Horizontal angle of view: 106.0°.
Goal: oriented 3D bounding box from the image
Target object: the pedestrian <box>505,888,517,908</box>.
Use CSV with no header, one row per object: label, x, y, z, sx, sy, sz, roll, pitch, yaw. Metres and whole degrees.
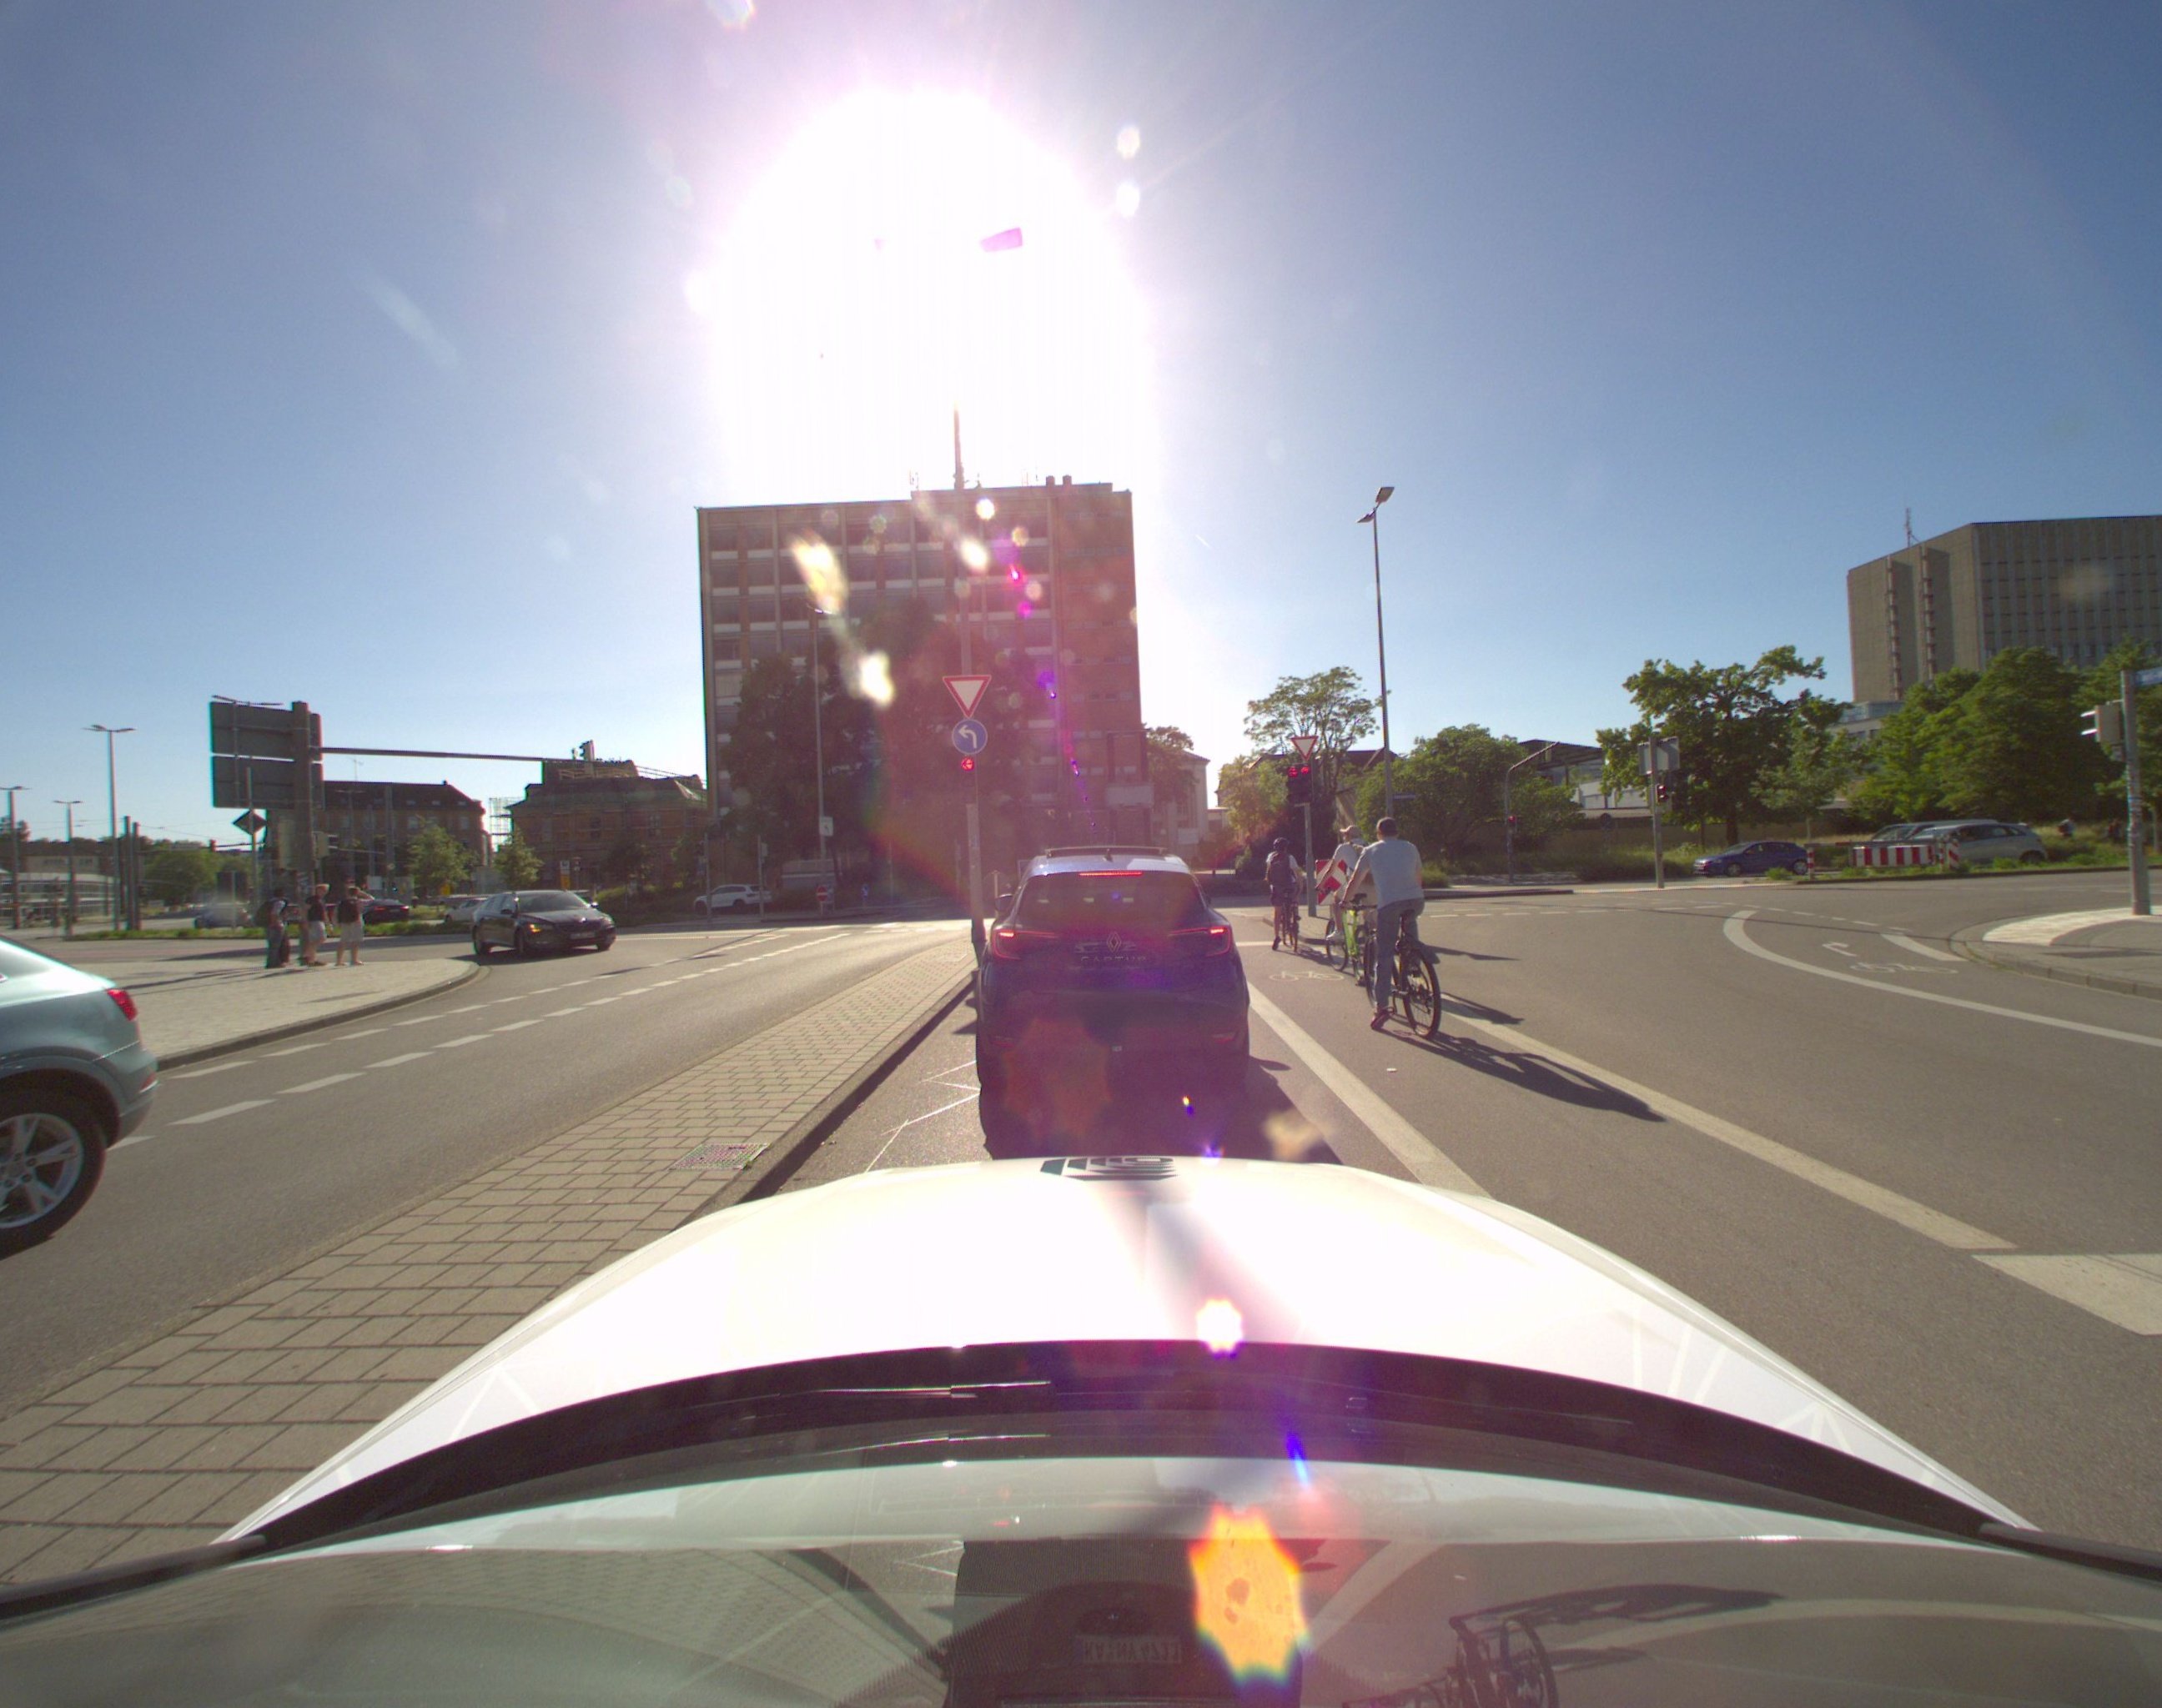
pedestrian,-45.273,3.496,64.702,0.541,1.615,0.653,-3,-1,41

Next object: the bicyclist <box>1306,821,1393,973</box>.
bicyclist,3.222,0.491,9.865,0.644,1.739,1.065,0,-1,-4

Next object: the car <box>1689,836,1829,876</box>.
car,28.226,0.096,34.021,4.140,1.435,1.747,-2,-1,8

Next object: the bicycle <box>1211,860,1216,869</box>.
bicycle,15.269,1.220,93.895,0.403,0.973,1.686,0,-1,6

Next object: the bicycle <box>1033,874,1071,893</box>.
bicycle,-1.657,1.686,46.252,2.061,0.964,0.601,-3,-1,15

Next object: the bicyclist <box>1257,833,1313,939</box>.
bicyclist,3.245,0.497,13.002,0.722,1.629,0.970,0,-1,6

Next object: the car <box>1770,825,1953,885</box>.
car,29.278,0.040,30.693,4.754,2.161,2.003,0,-1,5

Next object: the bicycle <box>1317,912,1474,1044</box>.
bicycle,2.727,1.032,7.311,0.737,0.896,1.980,0,-1,3

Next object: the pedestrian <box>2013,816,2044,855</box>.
pedestrian,45.265,-0.873,38.909,0.559,1.848,0.714,-2,-1,5

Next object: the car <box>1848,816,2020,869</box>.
car,35.260,-0.445,33.774,4.856,2.107,2.002,0,-1,4

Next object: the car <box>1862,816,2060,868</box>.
car,28.148,-0.363,26.180,4.025,1.408,1.872,-2,-1,8

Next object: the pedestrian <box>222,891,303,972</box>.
pedestrian,-18.160,1.701,18.087,0.900,1.690,0.839,-4,-3,-3

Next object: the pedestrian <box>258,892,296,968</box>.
pedestrian,-19.210,1.792,19.456,0.600,1.729,0.572,-2,-1,-45

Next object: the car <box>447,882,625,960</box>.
car,-12.877,1.584,19.153,4.722,1.505,1.831,-5,0,35

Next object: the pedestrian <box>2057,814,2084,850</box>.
pedestrian,48.871,-1.083,40.226,0.559,1.778,0.528,-2,-1,5

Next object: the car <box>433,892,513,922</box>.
car,-33.171,2.896,44.449,3.802,1.435,1.752,-2,-1,23

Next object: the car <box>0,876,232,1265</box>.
car,-5.259,0.948,2.135,1.785,1.581,4.248,-4,0,-6

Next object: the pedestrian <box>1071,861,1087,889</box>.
pedestrian,-0.089,1.217,47.140,0.732,1.603,0.601,-3,-1,14

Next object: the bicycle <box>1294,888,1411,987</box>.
bicycle,3.221,0.952,9.867,0.657,1.003,1.967,0,-1,-4

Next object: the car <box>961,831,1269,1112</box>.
car,0.210,0.705,6.818,1.798,1.632,3.999,-1,0,0

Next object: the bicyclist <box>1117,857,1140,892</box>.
bicyclist,2.555,1.097,43.996,1.094,1.867,0.655,-3,-1,12

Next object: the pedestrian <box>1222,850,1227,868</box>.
pedestrian,16.225,0.594,92.197,0.473,2.014,0.469,-2,-1,8

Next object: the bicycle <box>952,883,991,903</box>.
bicycle,-5.918,2.107,44.042,2.016,0.964,0.593,-2,-1,-25

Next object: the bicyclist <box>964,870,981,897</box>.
bicyclist,-5.881,1.591,44.069,0.741,1.441,0.593,-2,-1,-25

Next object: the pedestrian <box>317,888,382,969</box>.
pedestrian,-16.329,1.652,18.208,0.795,1.690,0.783,-3,-3,-21

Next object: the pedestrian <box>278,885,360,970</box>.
pedestrian,-17.226,1.639,18.441,0.698,1.800,1.107,-5,-3,14

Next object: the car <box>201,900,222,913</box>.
car,-146.792,8.788,137.475,3.948,2.013,2.013,-3,-1,38

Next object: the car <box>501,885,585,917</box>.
car,-30.538,2.664,46.217,4.334,1.632,1.854,-3,-1,23

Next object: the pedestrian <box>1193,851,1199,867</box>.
pedestrian,13.601,0.596,96.076,0.621,1.856,0.564,-2,-1,3

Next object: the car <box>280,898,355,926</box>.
car,-48.449,3.678,51.667,4.334,1.632,1.854,-3,-1,23

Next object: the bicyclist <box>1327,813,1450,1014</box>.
bicyclist,2.720,0.501,7.310,0.748,1.668,1.017,0,-1,3

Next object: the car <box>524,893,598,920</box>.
car,-31.592,3.206,49.504,3.804,1.435,1.751,-3,-1,19

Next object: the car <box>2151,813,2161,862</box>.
car,37.101,-0.632,25.357,4.713,1.584,2.002,-2,-1,3

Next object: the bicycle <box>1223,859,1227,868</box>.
bicycle,16.665,1.069,94.187,0.403,0.973,1.686,0,-1,6

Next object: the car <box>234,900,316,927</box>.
car,-47.518,3.520,48.007,4.839,1.388,1.855,-3,-1,25

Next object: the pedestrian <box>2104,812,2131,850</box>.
pedestrian,49.609,-1.105,38.981,0.559,1.778,0.528,-2,-1,5

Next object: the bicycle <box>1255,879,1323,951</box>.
bicycle,3.255,0.924,12.949,0.735,0.995,2.177,0,-1,6

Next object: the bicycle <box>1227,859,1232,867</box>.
bicycle,17.199,1.065,94.188,0.403,0.973,1.686,0,-1,6

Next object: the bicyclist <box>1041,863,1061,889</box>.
bicyclist,-1.678,1.243,46.257,0.929,1.429,0.601,-3,-1,15

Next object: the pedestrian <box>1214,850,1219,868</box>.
pedestrian,15.113,0.591,90.872,0.473,2.014,0.524,-2,-1,8

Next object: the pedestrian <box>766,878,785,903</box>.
pedestrian,-20.160,2.417,53.754,0.852,1.571,0.562,-5,-1,23

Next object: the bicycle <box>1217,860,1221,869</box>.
bicycle,15.887,1.215,93.837,0.403,0.973,1.686,0,-1,6

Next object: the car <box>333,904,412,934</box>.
car,-42.553,3.914,48.913,4.334,1.632,1.854,-3,-1,23

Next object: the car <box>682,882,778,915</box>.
car,-19.586,2.467,45.463,4.785,1.632,1.853,-2,-1,18

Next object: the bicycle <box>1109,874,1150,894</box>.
bicycle,2.647,1.620,43.983,2.067,0.930,0.698,-3,1,13

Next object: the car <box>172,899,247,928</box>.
car,-55.239,3.773,51.610,4.333,1.632,1.854,-3,-1,23
